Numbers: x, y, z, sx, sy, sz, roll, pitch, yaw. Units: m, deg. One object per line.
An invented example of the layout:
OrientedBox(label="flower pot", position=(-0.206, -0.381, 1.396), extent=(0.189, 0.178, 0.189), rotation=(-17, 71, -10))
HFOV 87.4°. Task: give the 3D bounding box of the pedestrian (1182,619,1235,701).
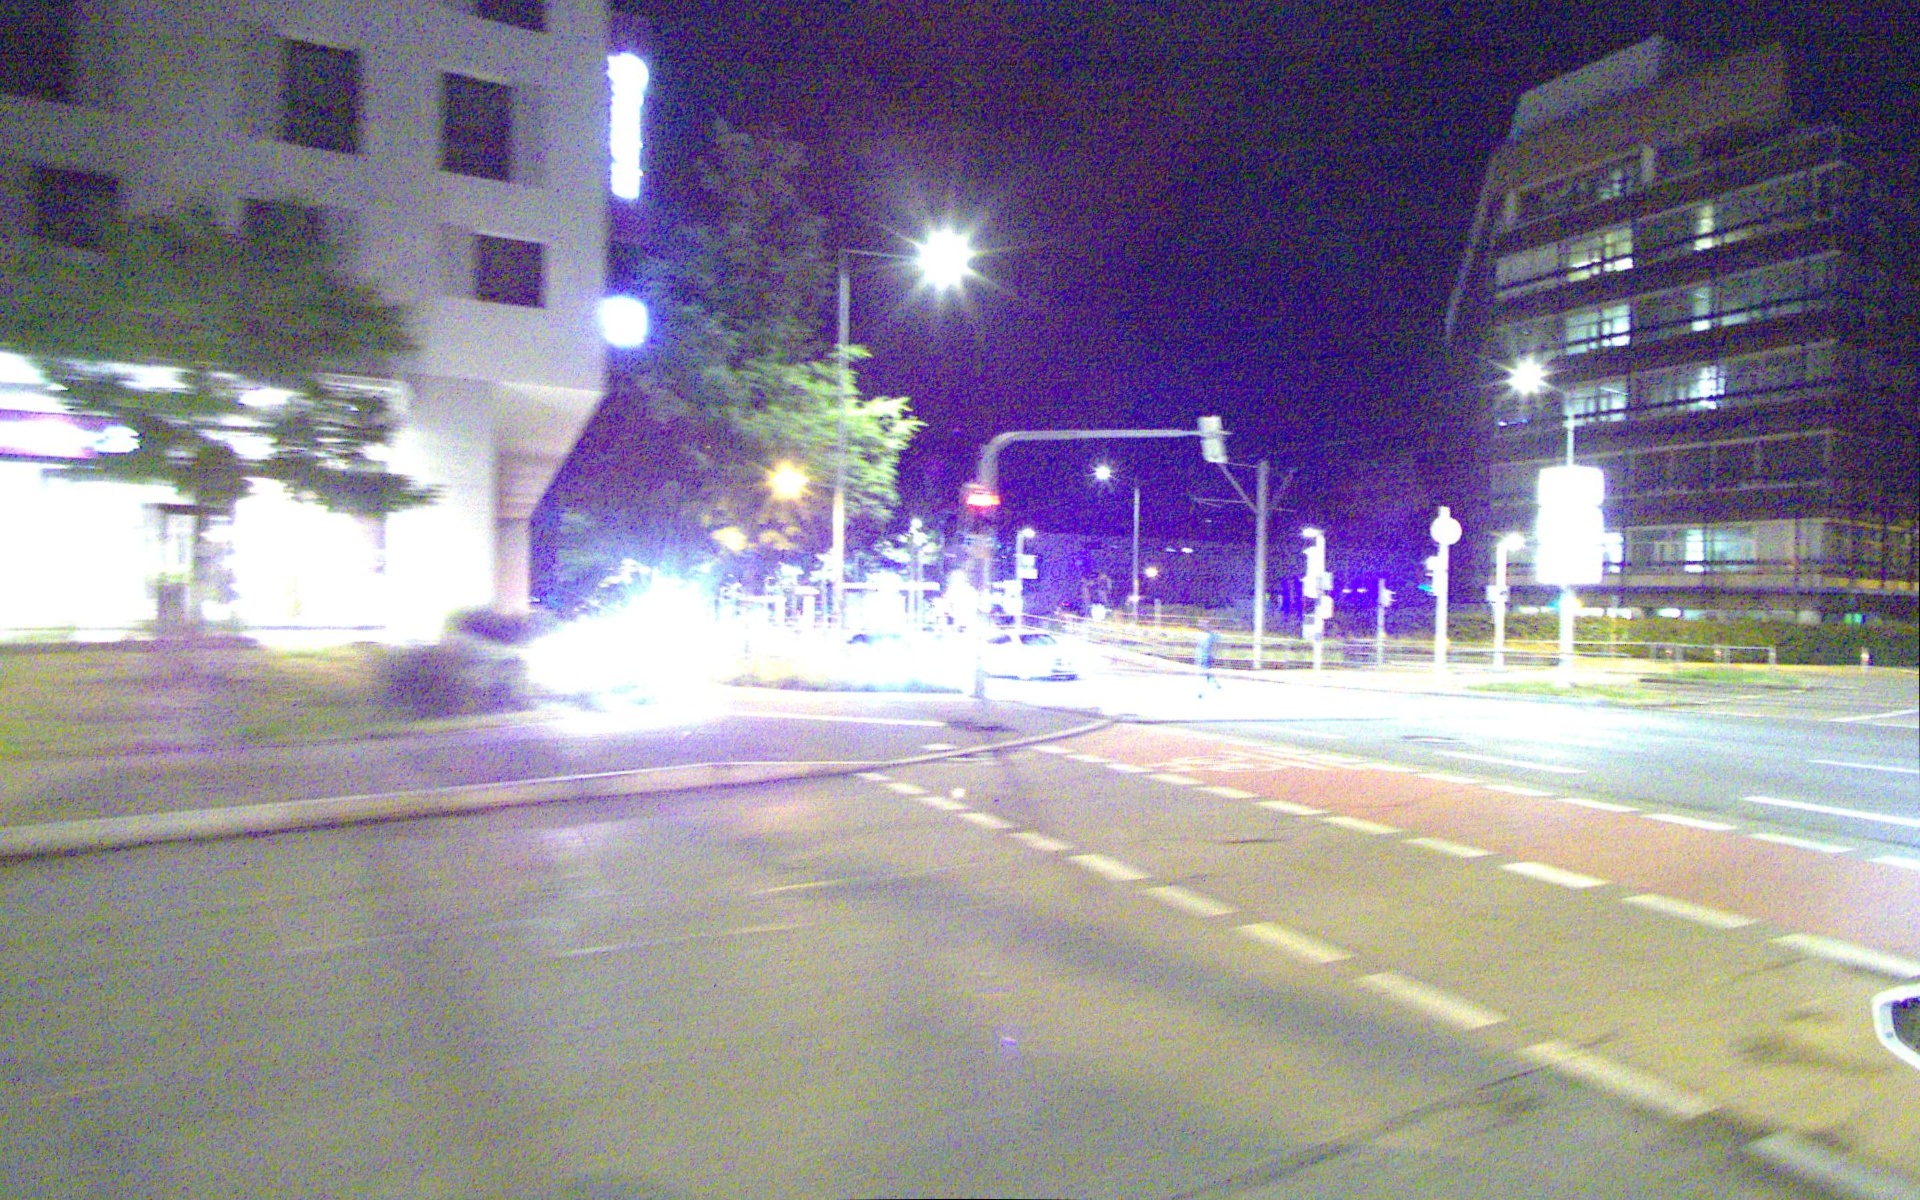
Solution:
OrientedBox(label="pedestrian", position=(5.200, 1.239, 21.022), extent=(0.854, 1.656, 0.664), rotation=(1, 0, -35))

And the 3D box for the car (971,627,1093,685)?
OrientedBox(label="car", position=(2.068, 1.607, 29.986), extent=(1.794, 1.522, 4.174), rotation=(-1, -1, -25))

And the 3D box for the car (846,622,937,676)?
OrientedBox(label="car", position=(-2.239, 1.549, 31.877), extent=(1.878, 1.591, 3.983), rotation=(2, -3, -19))

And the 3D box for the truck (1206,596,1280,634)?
OrientedBox(label="truck", position=(24.665, 1.288, 87.707), extent=(2.878, 3.129, 5.871), rotation=(1, -1, -29))
